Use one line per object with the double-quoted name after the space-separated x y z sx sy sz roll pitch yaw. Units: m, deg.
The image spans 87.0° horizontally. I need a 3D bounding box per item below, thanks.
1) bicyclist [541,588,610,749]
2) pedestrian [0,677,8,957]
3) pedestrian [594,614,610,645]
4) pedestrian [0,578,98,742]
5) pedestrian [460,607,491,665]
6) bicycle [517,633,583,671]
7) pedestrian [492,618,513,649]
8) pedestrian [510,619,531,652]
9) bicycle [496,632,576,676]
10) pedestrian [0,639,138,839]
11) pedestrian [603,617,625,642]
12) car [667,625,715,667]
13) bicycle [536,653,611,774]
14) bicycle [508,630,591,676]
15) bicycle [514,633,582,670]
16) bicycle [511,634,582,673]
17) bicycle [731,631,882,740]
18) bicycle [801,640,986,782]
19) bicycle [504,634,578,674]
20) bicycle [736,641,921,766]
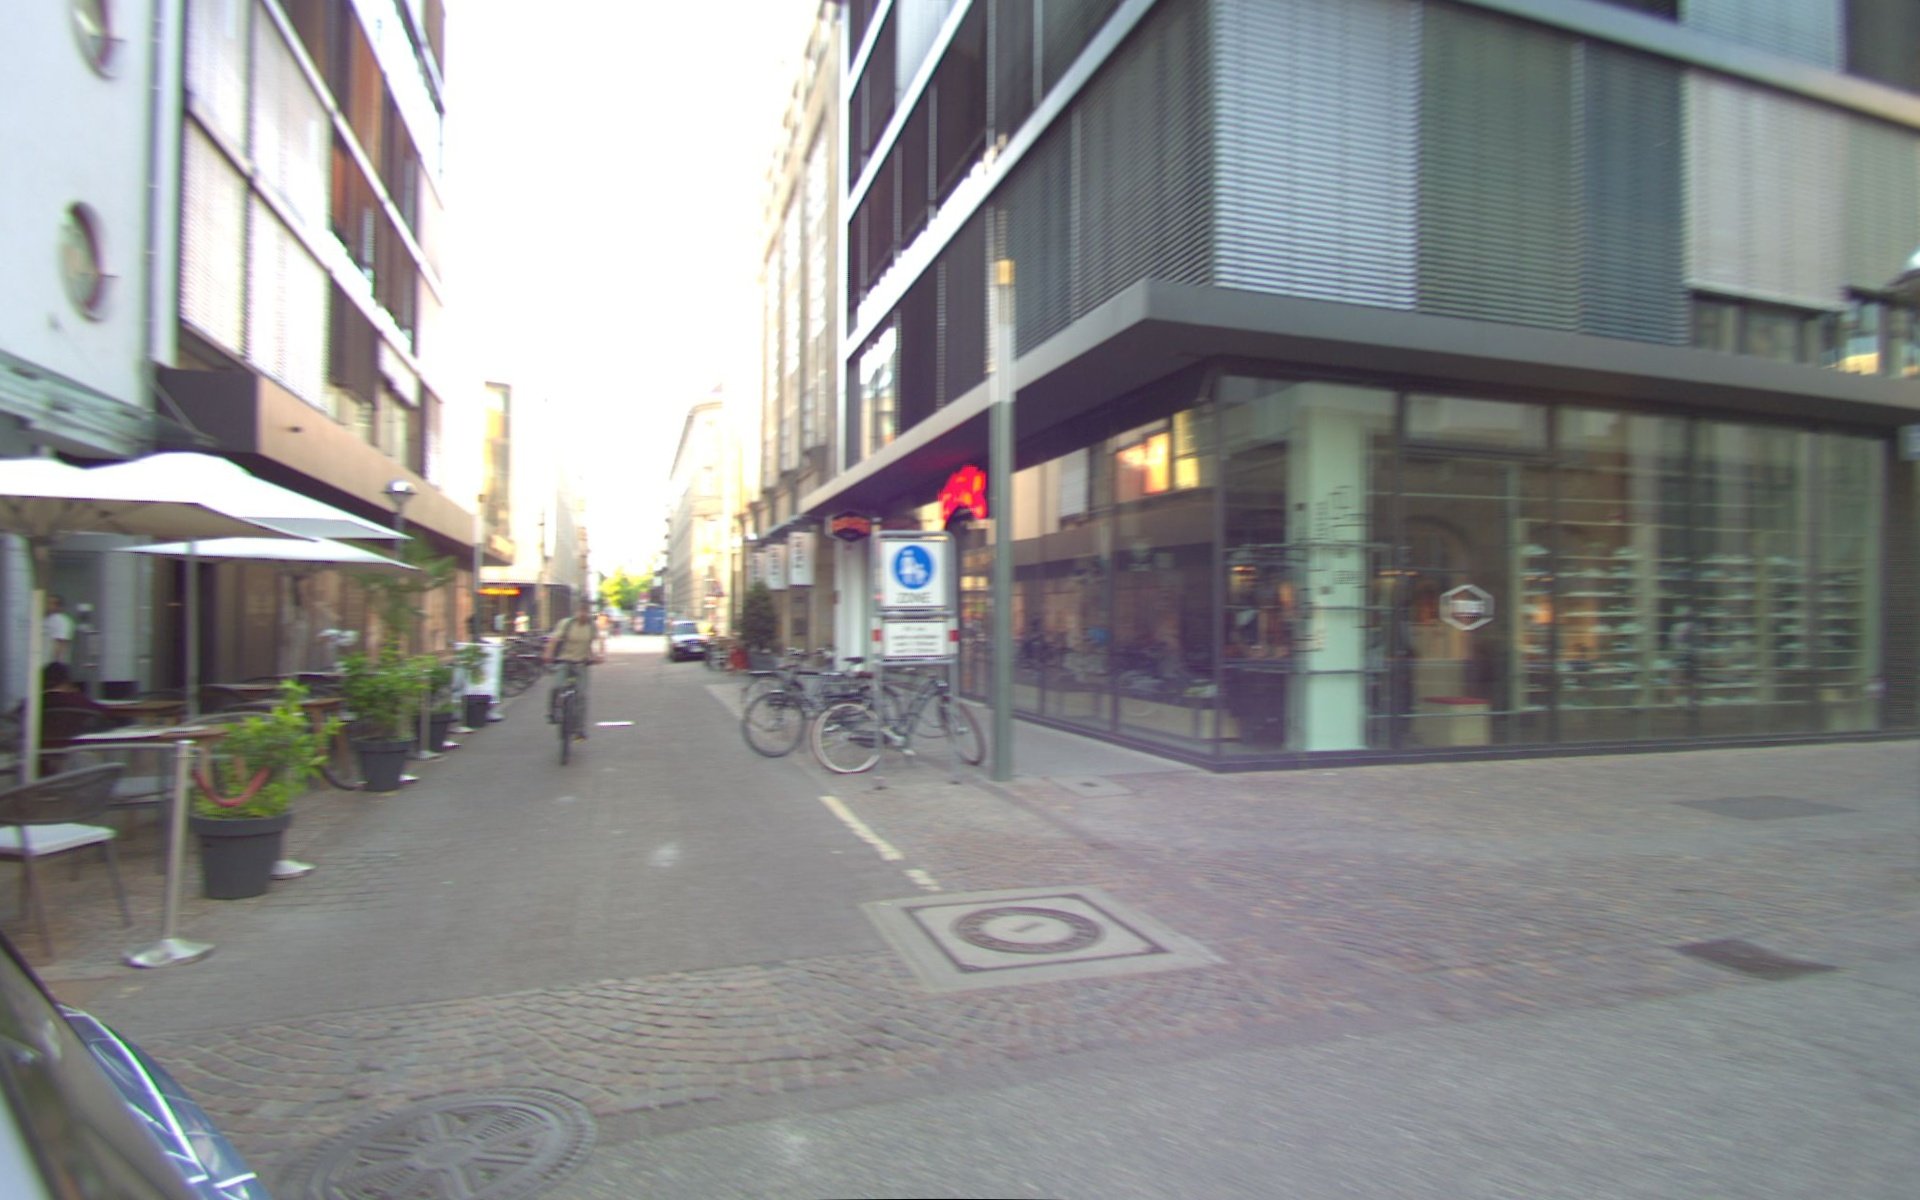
-4.196 0.724 11.101 0.664 1.683 0.872 0 -2 -19 "bicyclist"
-3.994 0.921 3.874 0.393 1.223 0.384 1 -2 -27 "pedestrian"
-19.241 1.576 54.412 0.752 1.650 0.671 1 -1 -17 "pedestrian"
-10.251 0.657 11.399 0.629 1.785 0.604 1 -2 -23 "pedestrian"
-15.678 1.148 32.774 0.790 1.850 0.677 1 -1 -16 "pedestrian"
-13.564 1.707 33.532 2.005 1.225 0.621 1 -1 -19 "bicycle"
-22.744 1.659 50.275 0.771 1.536 0.637 2 -1 -40 "pedestrian"
-22.190 1.791 51.101 0.778 1.633 0.631 0 -1 23 "pedestrian"
-12.246 1.559 29.288 2.005 1.176 0.621 4 -2 -18 "bicycle"
-6.915 1.025 7.816 0.566 1.431 0.871 1 -1 -17 "pedestrian"
-22.240 1.893 65.016 0.915 1.584 0.984 -1 -1 26 "pedestrian"
-9.749 1.644 36.771 1.577 1.434 3.613 1 -1 -14 "car"
-4.199 1.179 11.100 0.688 1.137 2.011 0 -1 -19 "bicycle"
-11.308 1.461 27.943 2.005 1.176 0.668 4 -2 -18 "bicycle"
-13.342 1.662 32.854 2.005 1.176 0.621 1 -1 -19 "bicycle"
-12.849 1.662 31.480 2.005 1.176 0.621 1 -1 -19 "bicycle"
-2.057 1.112 13.538 1.871 1.279 0.540 -3 0 -17 "bicycle"
-0.629 1.018 9.611 1.642 1.213 0.511 -1 -1 -18 "bicycle"
-12.574 1.617 30.409 2.005 1.176 0.621 1 -1 -19 "bicycle"
-1.413 1.081 10.911 1.871 1.190 0.519 -2 -2 -19 "bicycle"
